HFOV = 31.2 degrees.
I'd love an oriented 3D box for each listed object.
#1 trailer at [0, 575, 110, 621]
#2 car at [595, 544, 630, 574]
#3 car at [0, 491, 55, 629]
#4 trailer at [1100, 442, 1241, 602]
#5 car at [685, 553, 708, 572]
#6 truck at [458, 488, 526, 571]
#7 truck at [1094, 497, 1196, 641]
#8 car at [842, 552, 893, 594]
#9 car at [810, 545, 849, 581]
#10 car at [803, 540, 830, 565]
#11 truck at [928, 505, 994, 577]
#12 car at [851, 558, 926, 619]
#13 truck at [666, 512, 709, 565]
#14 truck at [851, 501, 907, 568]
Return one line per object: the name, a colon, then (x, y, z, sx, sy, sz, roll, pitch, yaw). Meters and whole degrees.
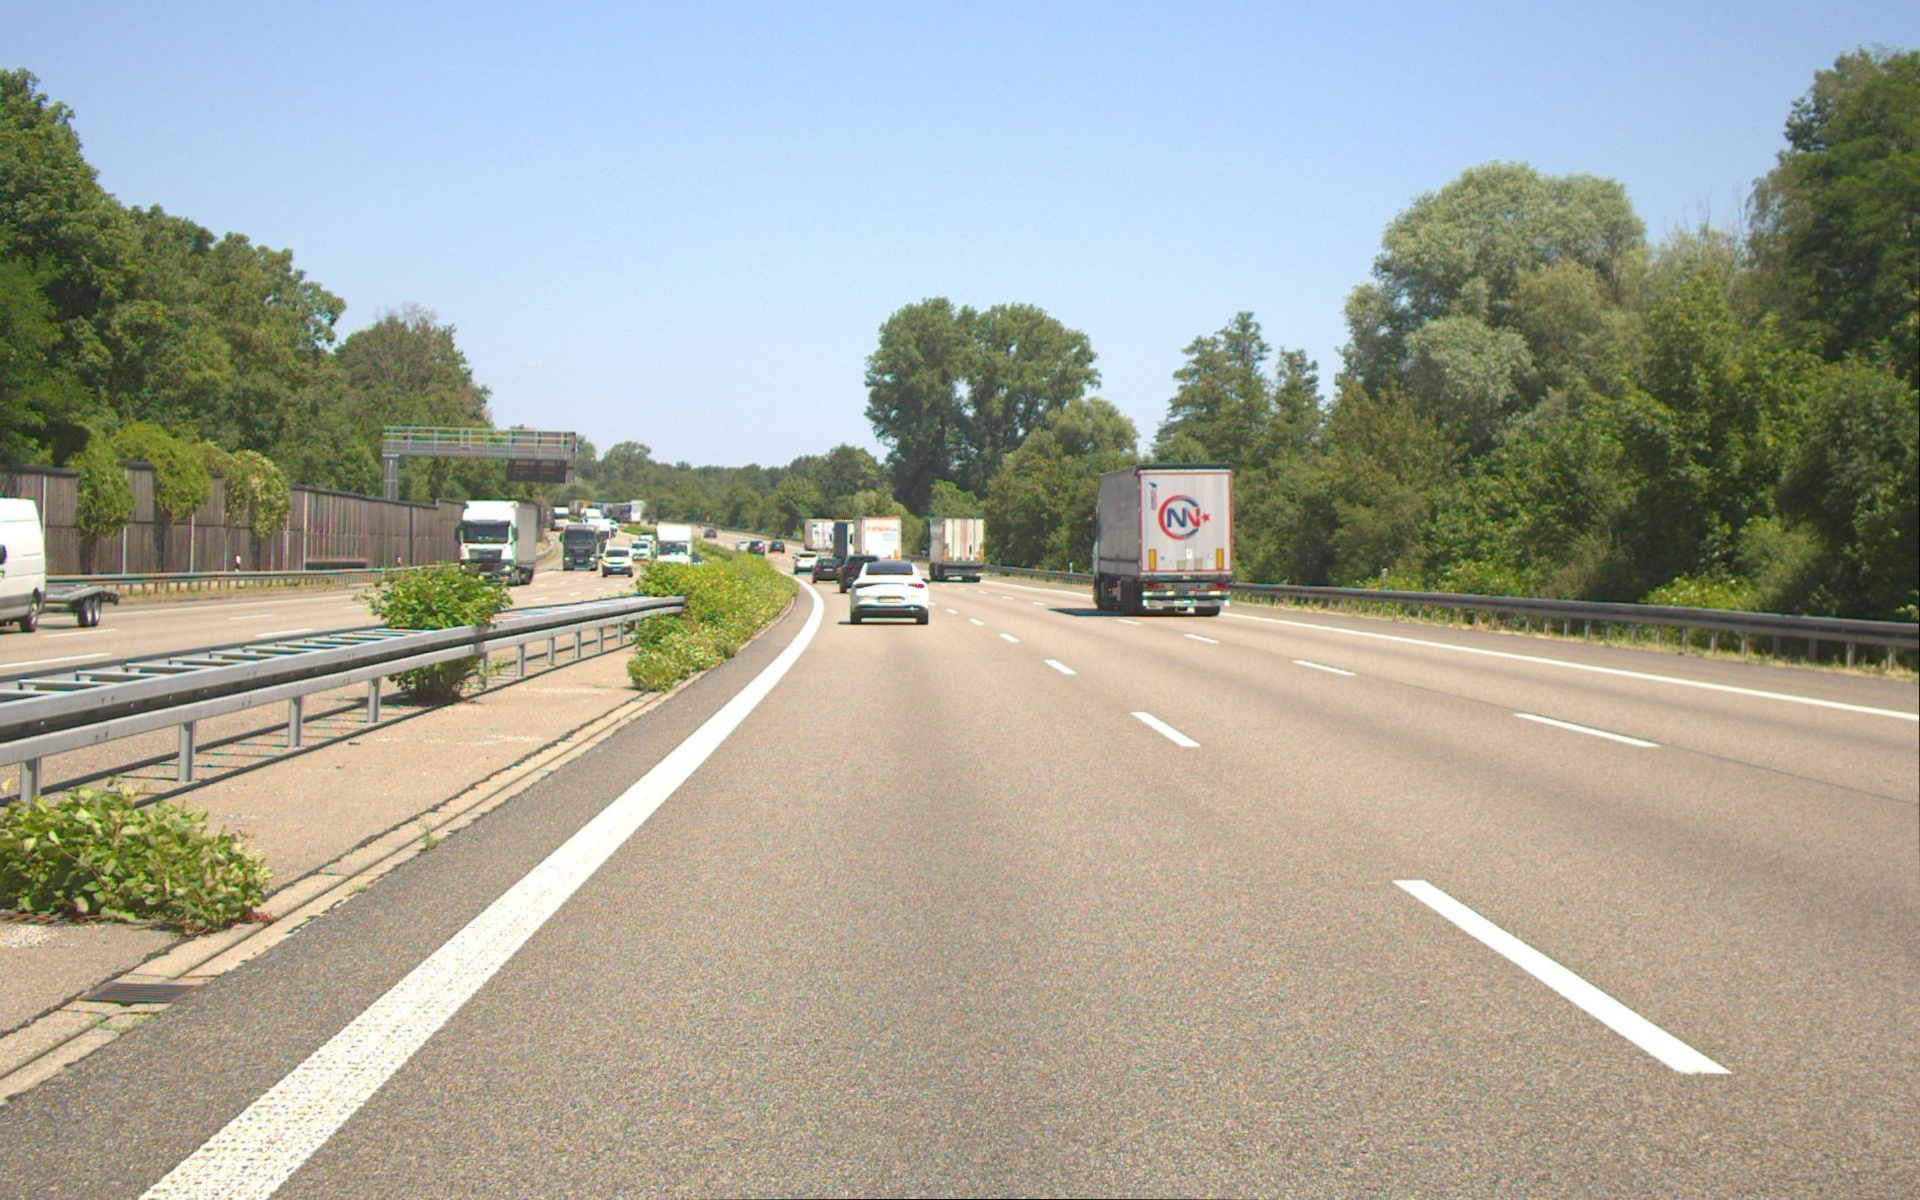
trailer: (-18.439, -0.066, 67.817, 2.161, 0.804, 6.282, 1, 1, -4)
car: (-21.623, -2.548, 214.124, 1.867, 1.814, 4.817, 1, 1, -3)
car: (-17.953, -0.741, 61.975, 2.023, 2.423, 5.414, 1, 1, -2)
trailer: (5.911, -2.197, 98.986, 2.624, 4.246, 14.062, 1, 1, -2)
car: (-19.308, -2.746, 252.279, 1.625, 1.385, 3.914, 0, 1, -3)
truck: (-22.293, -3.352, 164.005, 2.686, 3.881, 5.574, 1, 1, -3)
truck: (5.652, -0.972, 105.691, 2.605, 4.272, 5.436, 1, 1, -2)
car: (-4.093, -1.208, 151.739, 1.993, 1.766, 4.001, 0, 1, -5)
car: (-7.524, -2.145, 198.159, 1.993, 2.007, 4.001, 0, 1, -6)
car: (-10.467, -3.499, 251.129, 1.723, 1.776, 4.001, 0, 1, -6)
truck: (0.017, -3.634, 213.018, 3.492, 4.296, 10.990, 1, 1, -3)
car: (-1.665, -0.281, 80.646, 1.715, 1.365, 3.375, 1, 1, -1)
truck: (-16.463, -3.730, 208.173, 2.193, 3.104, 8.535, 1, 1, -2)
truck: (-5.484, -4.366, 230.378, 3.359, 4.296, 10.830, 1, 1, -3)
